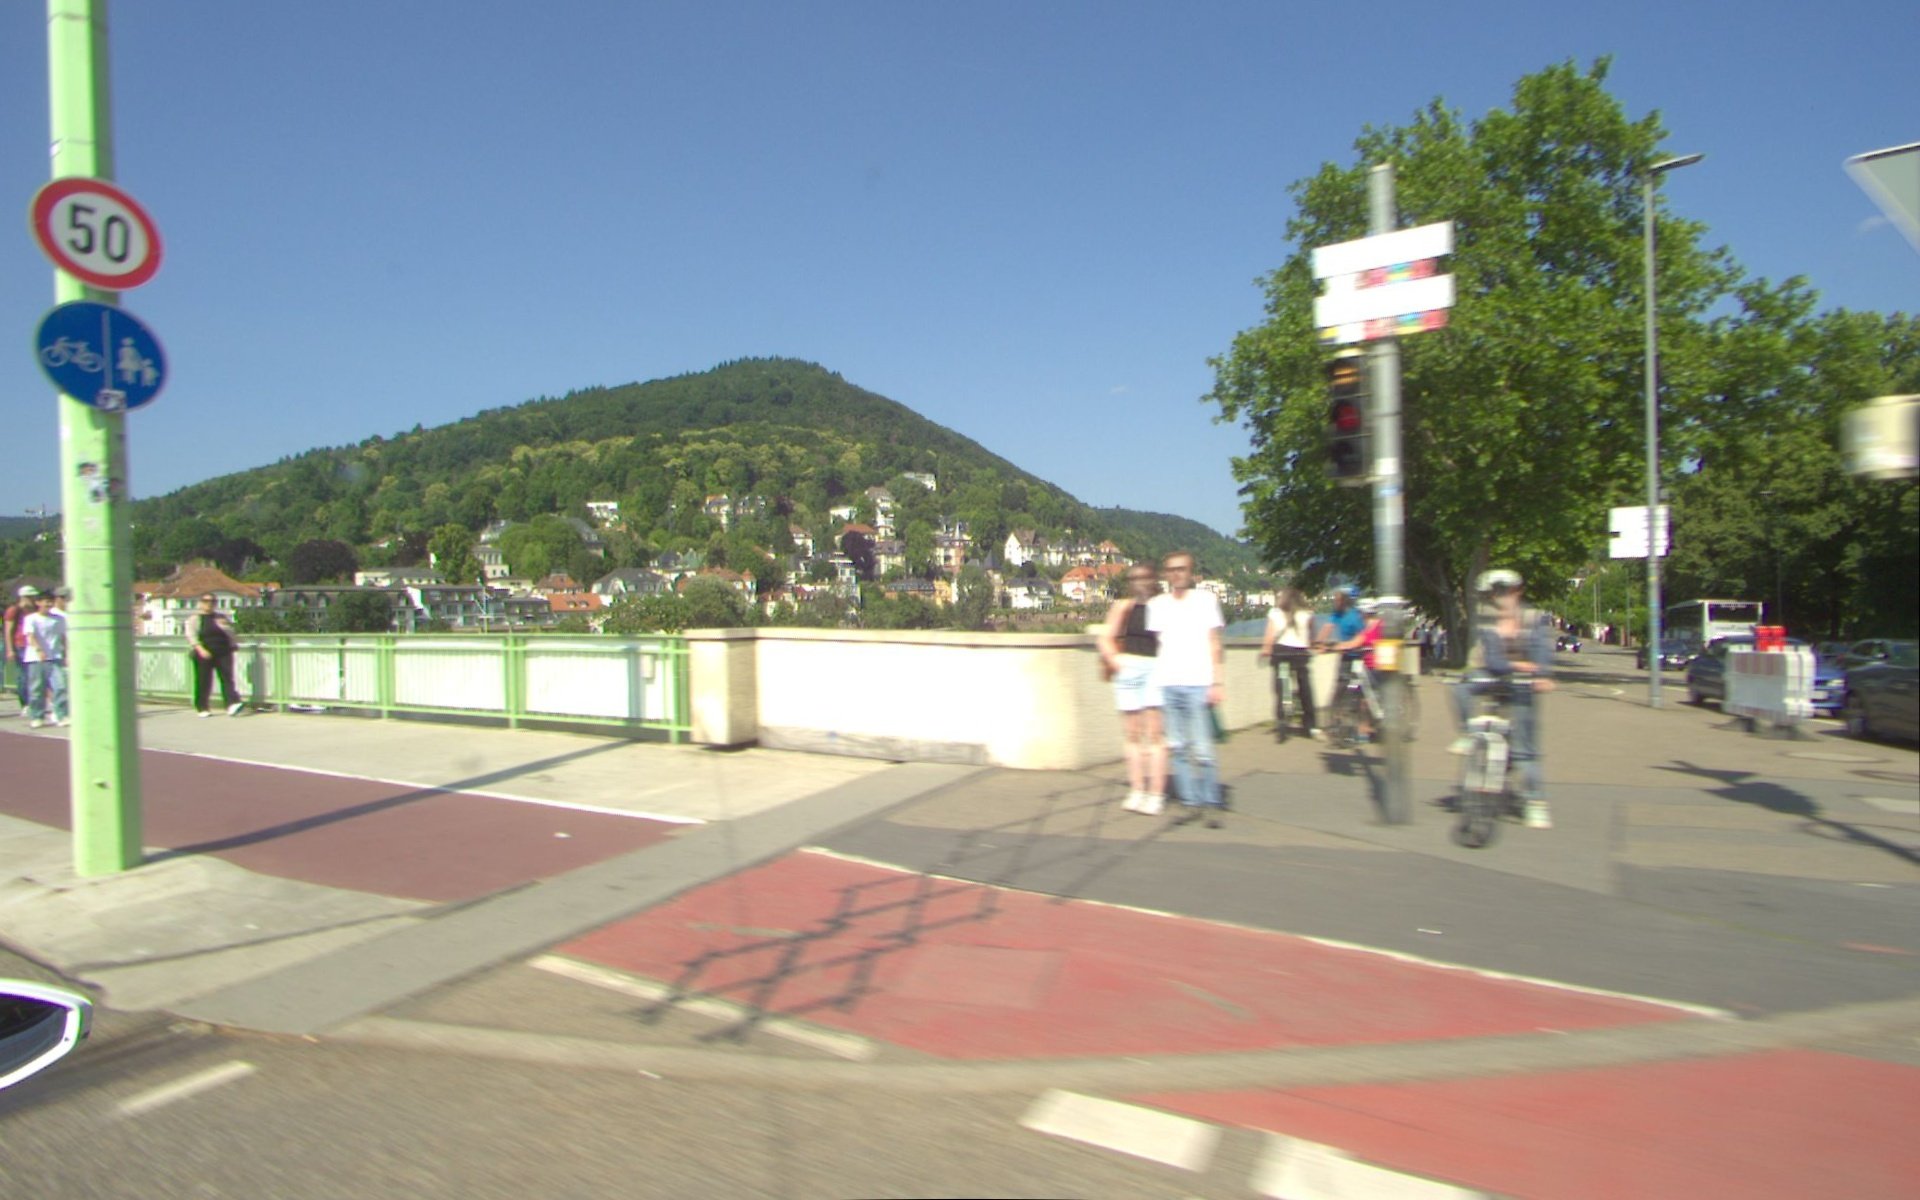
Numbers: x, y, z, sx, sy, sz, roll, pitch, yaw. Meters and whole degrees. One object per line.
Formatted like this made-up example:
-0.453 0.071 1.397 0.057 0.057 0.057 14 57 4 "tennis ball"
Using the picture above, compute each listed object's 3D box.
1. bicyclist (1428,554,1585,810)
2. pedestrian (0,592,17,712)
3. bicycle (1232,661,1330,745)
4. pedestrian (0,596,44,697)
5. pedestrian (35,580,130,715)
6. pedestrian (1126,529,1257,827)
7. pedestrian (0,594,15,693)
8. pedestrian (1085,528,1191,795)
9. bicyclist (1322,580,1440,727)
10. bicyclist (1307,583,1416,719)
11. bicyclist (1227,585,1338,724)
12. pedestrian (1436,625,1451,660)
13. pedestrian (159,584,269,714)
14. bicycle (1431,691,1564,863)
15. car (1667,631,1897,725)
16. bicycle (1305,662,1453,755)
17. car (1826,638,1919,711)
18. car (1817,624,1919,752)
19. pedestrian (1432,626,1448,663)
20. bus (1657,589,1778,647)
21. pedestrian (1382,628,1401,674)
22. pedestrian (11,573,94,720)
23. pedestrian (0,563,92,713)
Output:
3.568 0.499 6.506 0.789 1.493 1.077 -1 -1 34 "bicyclist"
-13.627 0.719 13.536 0.906 1.636 0.985 -2 -1 24 "pedestrian"
3.735 1.144 11.546 0.557 0.837 1.934 -1 -2 34 "bicycle"
-16.454 0.795 17.144 0.871 1.698 0.834 -2 0 24 "pedestrian"
-11.695 0.630 13.352 0.720 1.739 0.695 -2 0 24 "pedestrian"
1.586 0.500 6.811 0.635 1.880 0.772 1 0 33 "pedestrian"
-18.025 0.801 18.066 1.234 1.793 0.984 -1 1 24 "pedestrian"
1.261 0.418 7.072 0.569 1.783 0.533 -1 0 33 "pedestrian"
4.532 0.561 10.780 1.071 1.493 0.756 1 -1 -39 "bicyclist"
4.689 0.583 11.678 0.916 1.493 1.076 -1 -1 38 "bicyclist"
3.696 0.608 11.443 0.916 1.493 1.076 -1 -1 36 "bicyclist"
25.559 2.234 52.958 0.666 1.798 0.740 0 -1 25 "pedestrian"
-9.915 0.642 13.325 0.934 1.656 0.799 -1 0 24 "pedestrian"
3.526 1.064 6.490 0.557 0.837 1.934 -1 -2 34 "bicycle"
14.663 1.307 18.206 1.815 1.466 4.478 -1 -2 20 "car"
4.507 1.123 10.709 1.921 0.864 0.561 1 -2 -37 "bicycle"
21.346 1.607 22.129 1.815 1.461 4.478 -1 -2 20 "car"
12.160 1.051 11.667 1.815 1.414 4.476 -1 0 20 "car"
23.410 2.166 48.878 0.666 1.798 0.740 0 -1 25 "pedestrian"
40.261 0.953 53.575 3.058 2.819 8.829 -2 -1 23 "bus"
17.078 1.998 39.657 0.666 1.798 0.740 0 -1 25 "pedestrian"
-11.524 0.586 12.720 0.635 1.822 0.549 -2 0 24 "pedestrian"
-13.105 0.541 14.236 0.939 2.040 0.803 -2 0 24 "pedestrian"
